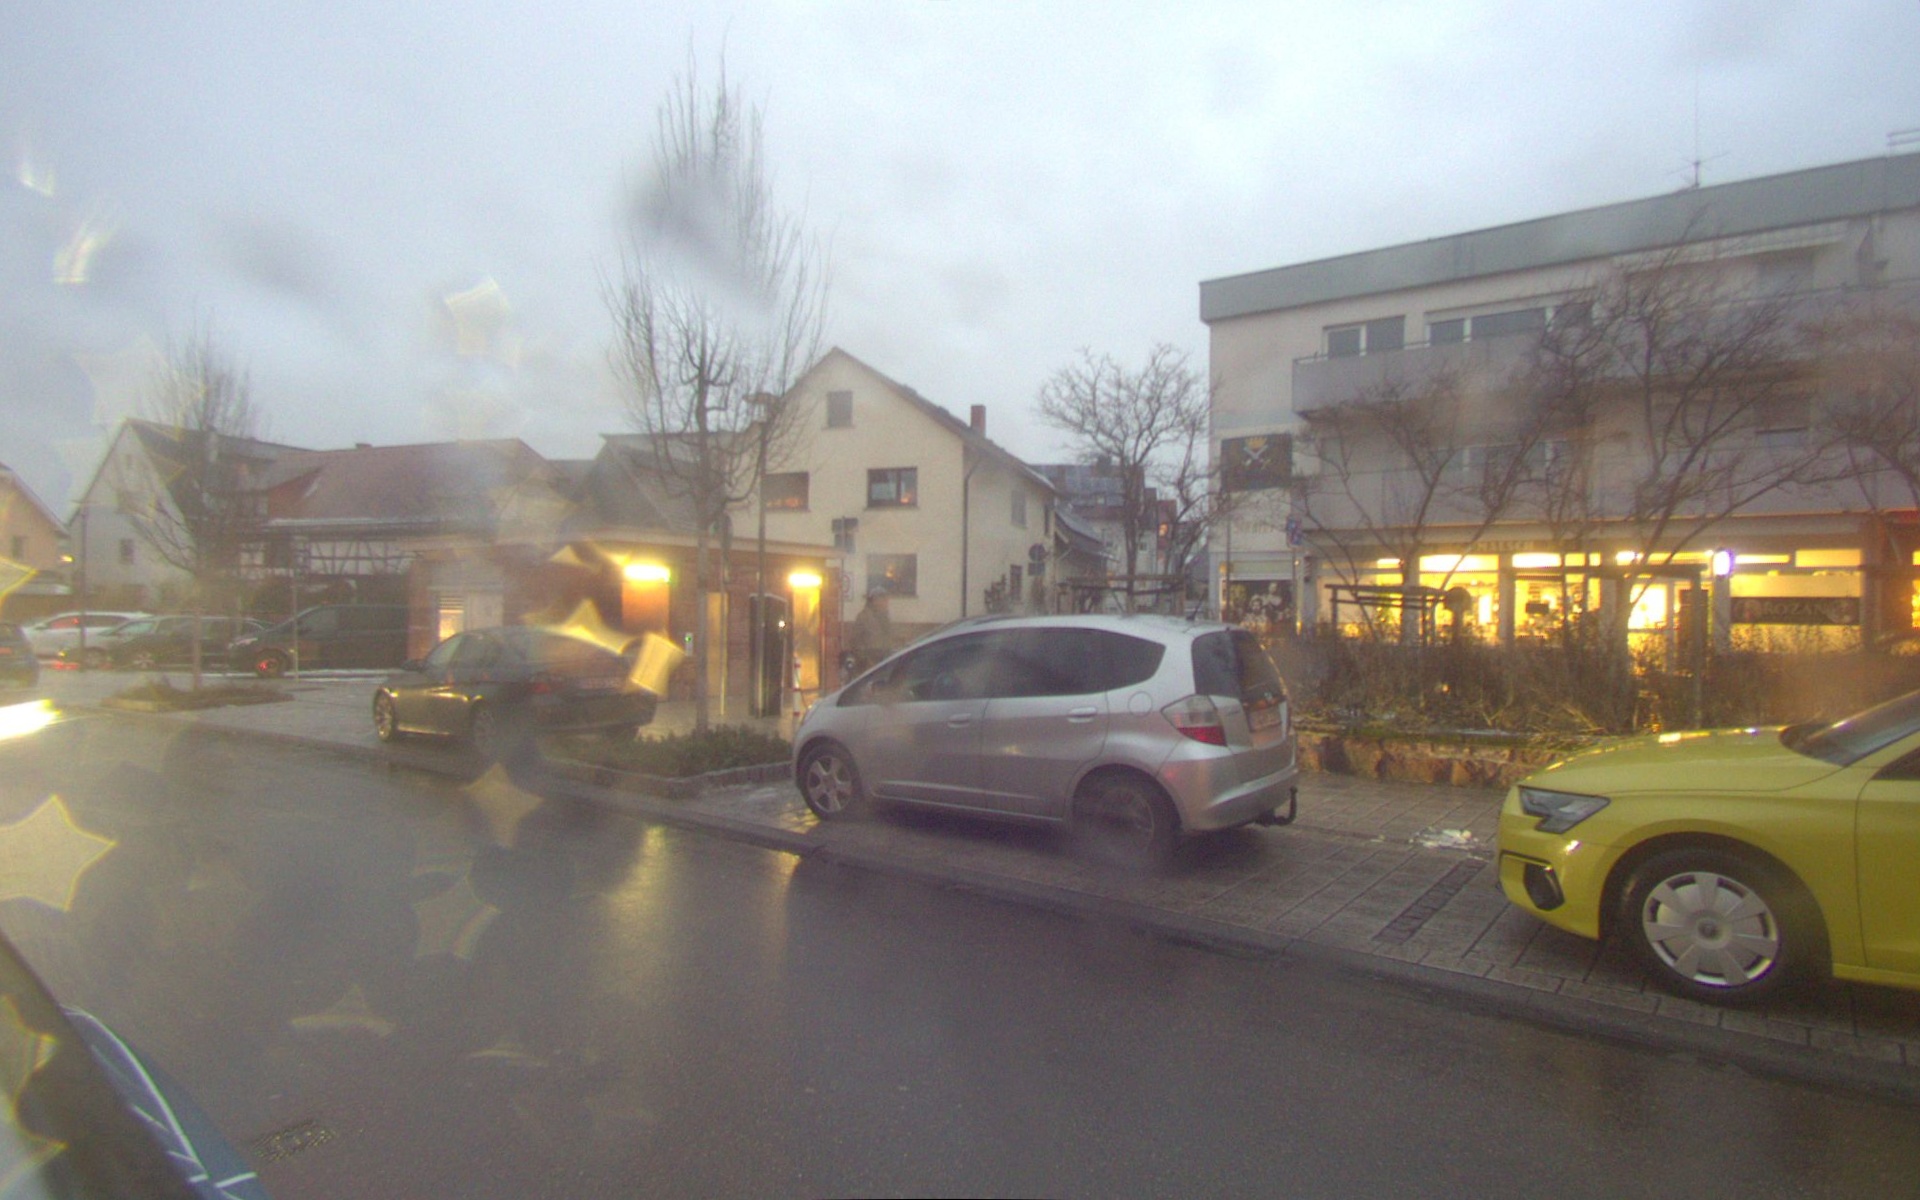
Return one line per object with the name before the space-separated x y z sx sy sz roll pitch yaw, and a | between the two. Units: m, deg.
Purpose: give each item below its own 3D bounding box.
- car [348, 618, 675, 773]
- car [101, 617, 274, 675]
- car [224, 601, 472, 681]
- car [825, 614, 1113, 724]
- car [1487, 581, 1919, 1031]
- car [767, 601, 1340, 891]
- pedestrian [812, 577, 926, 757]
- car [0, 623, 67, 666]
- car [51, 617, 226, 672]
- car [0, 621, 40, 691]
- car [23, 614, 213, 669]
car | -5.440 0.977 12.007 4.454 1.483 1.729 -1 0 39
car | -22.548 1.295 29.711 3.934 1.541 2.004 0 -1 -37
car | -15.800 1.081 26.362 5.307 1.900 2.079 2 -3 -34
car | 0.150 1.014 15.389 4.018 1.488 1.745 2 -3 -26
car | 4.460 0.683 3.541 4.341 1.528 1.730 -1 0 42
car | 0.519 0.806 7.222 3.768 1.528 1.676 -1 0 38
pedestrian | -1.012 0.710 11.216 1.060 1.881 0.746 -1 -2 41
car | -33.944 1.550 35.323 1.758 1.470 4.015 -1 -2 44
car | -25.122 1.364 31.056 4.049 1.594 1.723 2 -3 -41
car | -23.046 1.269 23.165 3.658 1.547 1.822 -1 -1 28
car | -27.240 1.322 32.892 4.583 1.666 1.991 2 -2 -41
